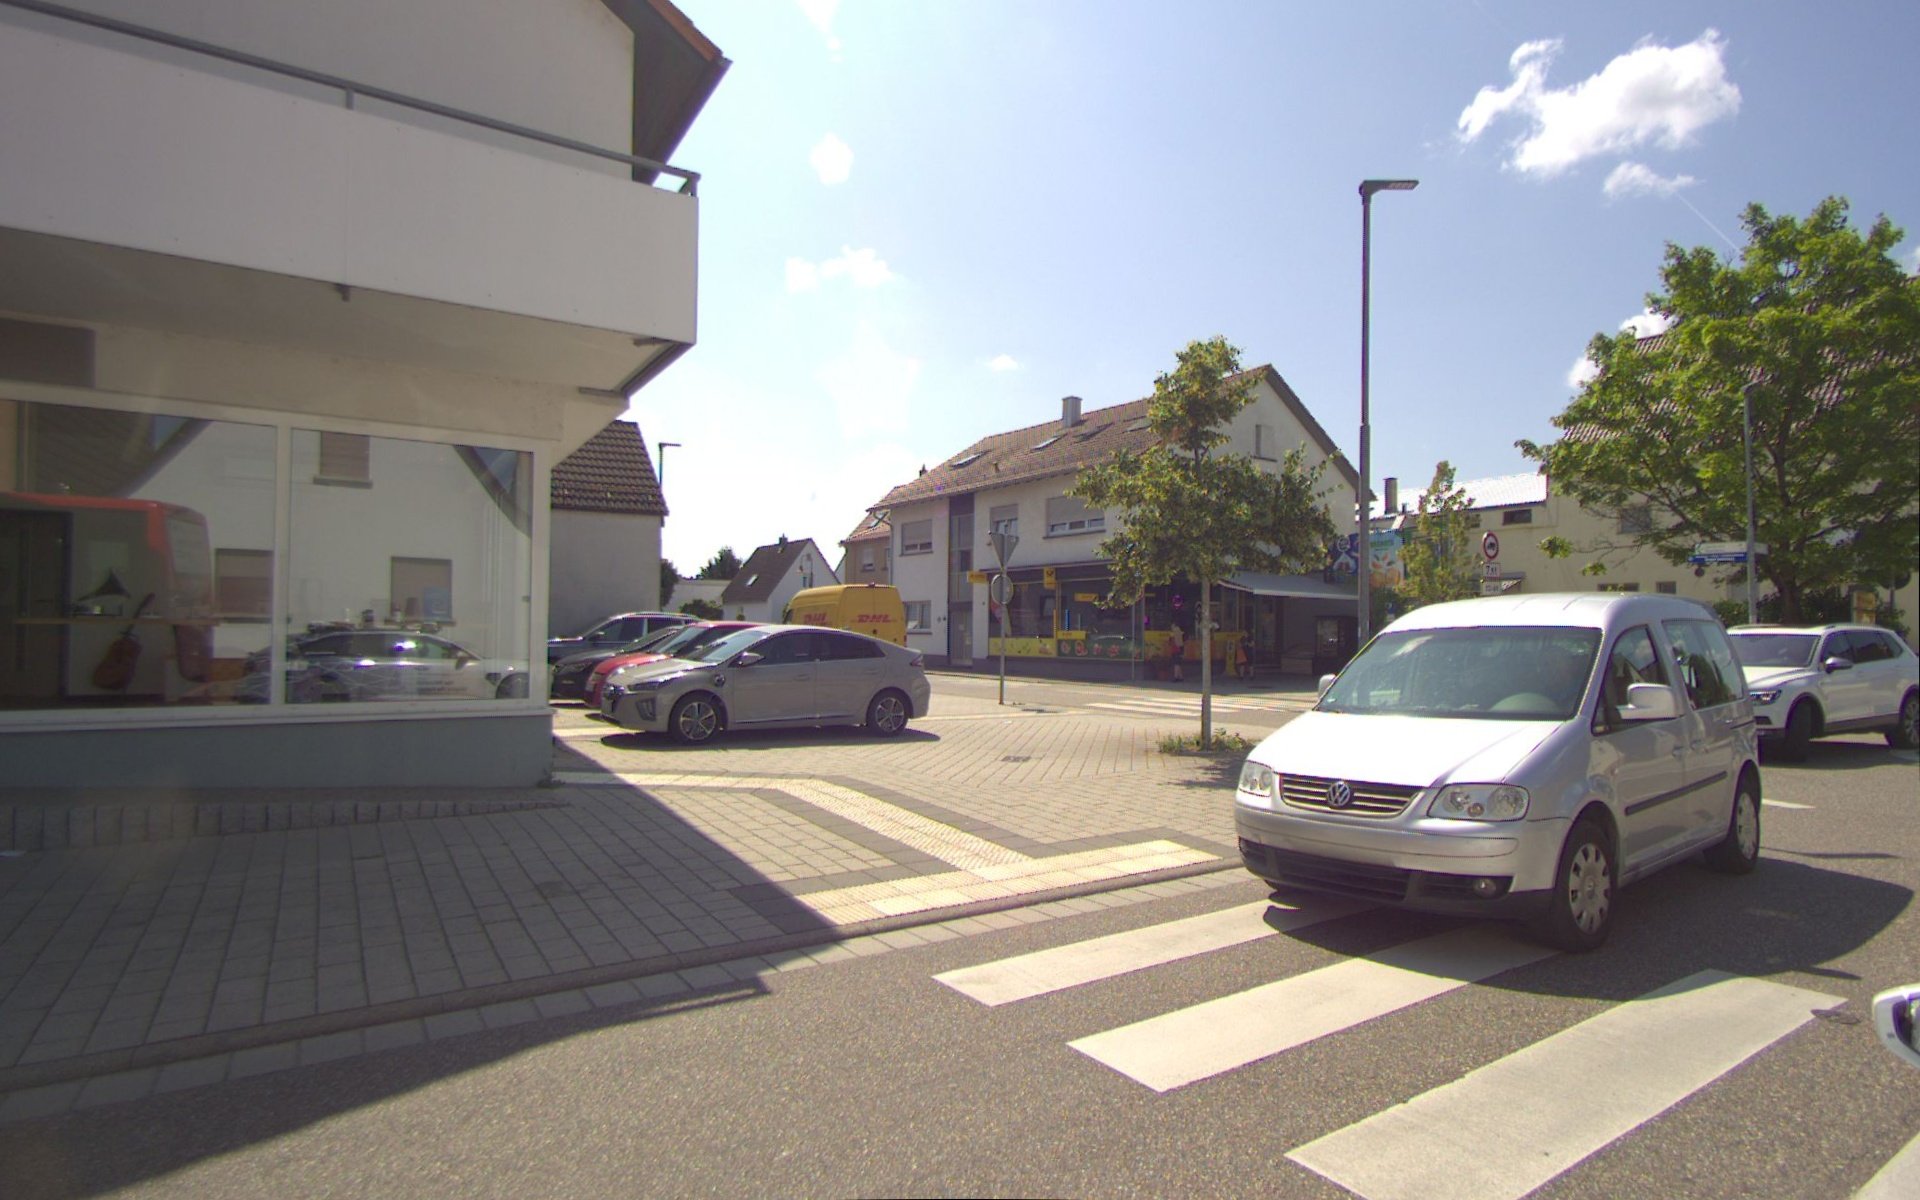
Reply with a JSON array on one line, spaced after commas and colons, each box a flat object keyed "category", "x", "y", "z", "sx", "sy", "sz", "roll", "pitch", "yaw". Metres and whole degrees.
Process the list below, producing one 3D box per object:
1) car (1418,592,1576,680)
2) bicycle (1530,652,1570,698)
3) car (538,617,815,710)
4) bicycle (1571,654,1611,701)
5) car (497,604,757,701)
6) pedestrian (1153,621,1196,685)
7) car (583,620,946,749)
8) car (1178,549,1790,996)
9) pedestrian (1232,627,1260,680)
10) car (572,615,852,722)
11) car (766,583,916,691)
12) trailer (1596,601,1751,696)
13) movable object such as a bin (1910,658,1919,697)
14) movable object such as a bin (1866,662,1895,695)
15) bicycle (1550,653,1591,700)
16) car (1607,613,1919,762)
[{"category": "car", "x": 17.140, "y": 1.141, "z": 31.967, "sx": 5.586, "sy": 2.601, "sz": 1.926, "roll": 2, "pitch": -1, "yaw": -33}, {"category": "bicycle", "x": 14.707, "y": 1.852, "z": 25.018, "sx": 0.396, "sy": 1.017, "sz": 1.970, "roll": -1, "pitch": -1, "yaw": 45}, {"category": "car", "x": -5.005, "y": 1.112, "z": 17.977, "sx": 4.433, "sy": 1.469, "sz": 1.819, "roll": 3, "pitch": -2, "yaw": -34}, {"category": "bicycle", "x": 15.338, "y": 1.868, "z": 24.381, "sx": 0.396, "sy": 1.017, "sz": 1.970, "roll": -1, "pitch": -1, "yaw": 45}, {"category": "car", "x": -6.754, "y": 1.071, "z": 20.591, "sx": 4.700, "sy": 1.762, "sz": 1.969, "roll": 3, "pitch": -2, "yaw": -34}, {"category": "pedestrian", "x": 6.407, "y": 1.556, "z": 30.001, "sx": 1.013, "sy": 1.850, "sz": 0.776, "roll": 0, "pitch": 0, "yaw": -34}, {"category": "car", "x": -2.539, "y": 1.066, "z": 13.508, "sx": 4.433, "sy": 1.469, "sz": 1.819, "roll": 3, "pitch": -2, "yaw": -34}, {"category": "car", "x": 3.465, "y": 0.813, "z": 6.258, "sx": 4.404, "sy": 1.845, "sz": 1.758, "roll": 2, "pitch": -4, "yaw": -39}, {"category": "pedestrian", "x": 8.773, "y": 1.626, "z": 30.864, "sx": 0.735, "sy": 1.610, "sz": 0.881, "roll": 0, "pitch": -1, "yaw": 10}, {"category": "car", "x": -3.854, "y": 1.043, "z": 15.823, "sx": 3.923, "sy": 1.496, "sz": 1.736, "roll": 3, "pitch": -2, "yaw": -34}, {"category": "car", "x": -3.370, "y": 0.989, "z": 27.261, "sx": 2.087, "sy": 2.606, "sz": 5.642, "roll": 1, "pitch": -2, "yaw": -29}, {"category": "trailer", "x": 19.373, "y": 1.283, "z": 27.232, "sx": 4.474, "sy": 2.366, "sz": 1.868, "roll": 2, "pitch": -1, "yaw": -33}, {"category": "movable object such as a bin", "x": 27.430, "y": 2.199, "z": 28.443, "sx": 0.651, "sy": 1.093, "sz": 0.597, "roll": 2, "pitch": -2, "yaw": -30}, {"category": "movable object such as a bin", "x": 26.818, "y": 2.285, "z": 29.276, "sx": 0.541, "sy": 0.940, "sz": 0.477, "roll": 2, "pitch": -2, "yaw": -30}, {"category": "bicycle", "x": 15.032, "y": 1.860, "z": 24.712, "sx": 0.396, "sy": 1.017, "sz": 1.970, "roll": -1, "pitch": -1, "yaw": 45}, {"category": "car", "x": 11.027, "y": 1.098, "z": 13.548, "sx": 4.483, "sy": 1.732, "sz": 1.860, "roll": 1, "pitch": -2, "yaw": -27}]
